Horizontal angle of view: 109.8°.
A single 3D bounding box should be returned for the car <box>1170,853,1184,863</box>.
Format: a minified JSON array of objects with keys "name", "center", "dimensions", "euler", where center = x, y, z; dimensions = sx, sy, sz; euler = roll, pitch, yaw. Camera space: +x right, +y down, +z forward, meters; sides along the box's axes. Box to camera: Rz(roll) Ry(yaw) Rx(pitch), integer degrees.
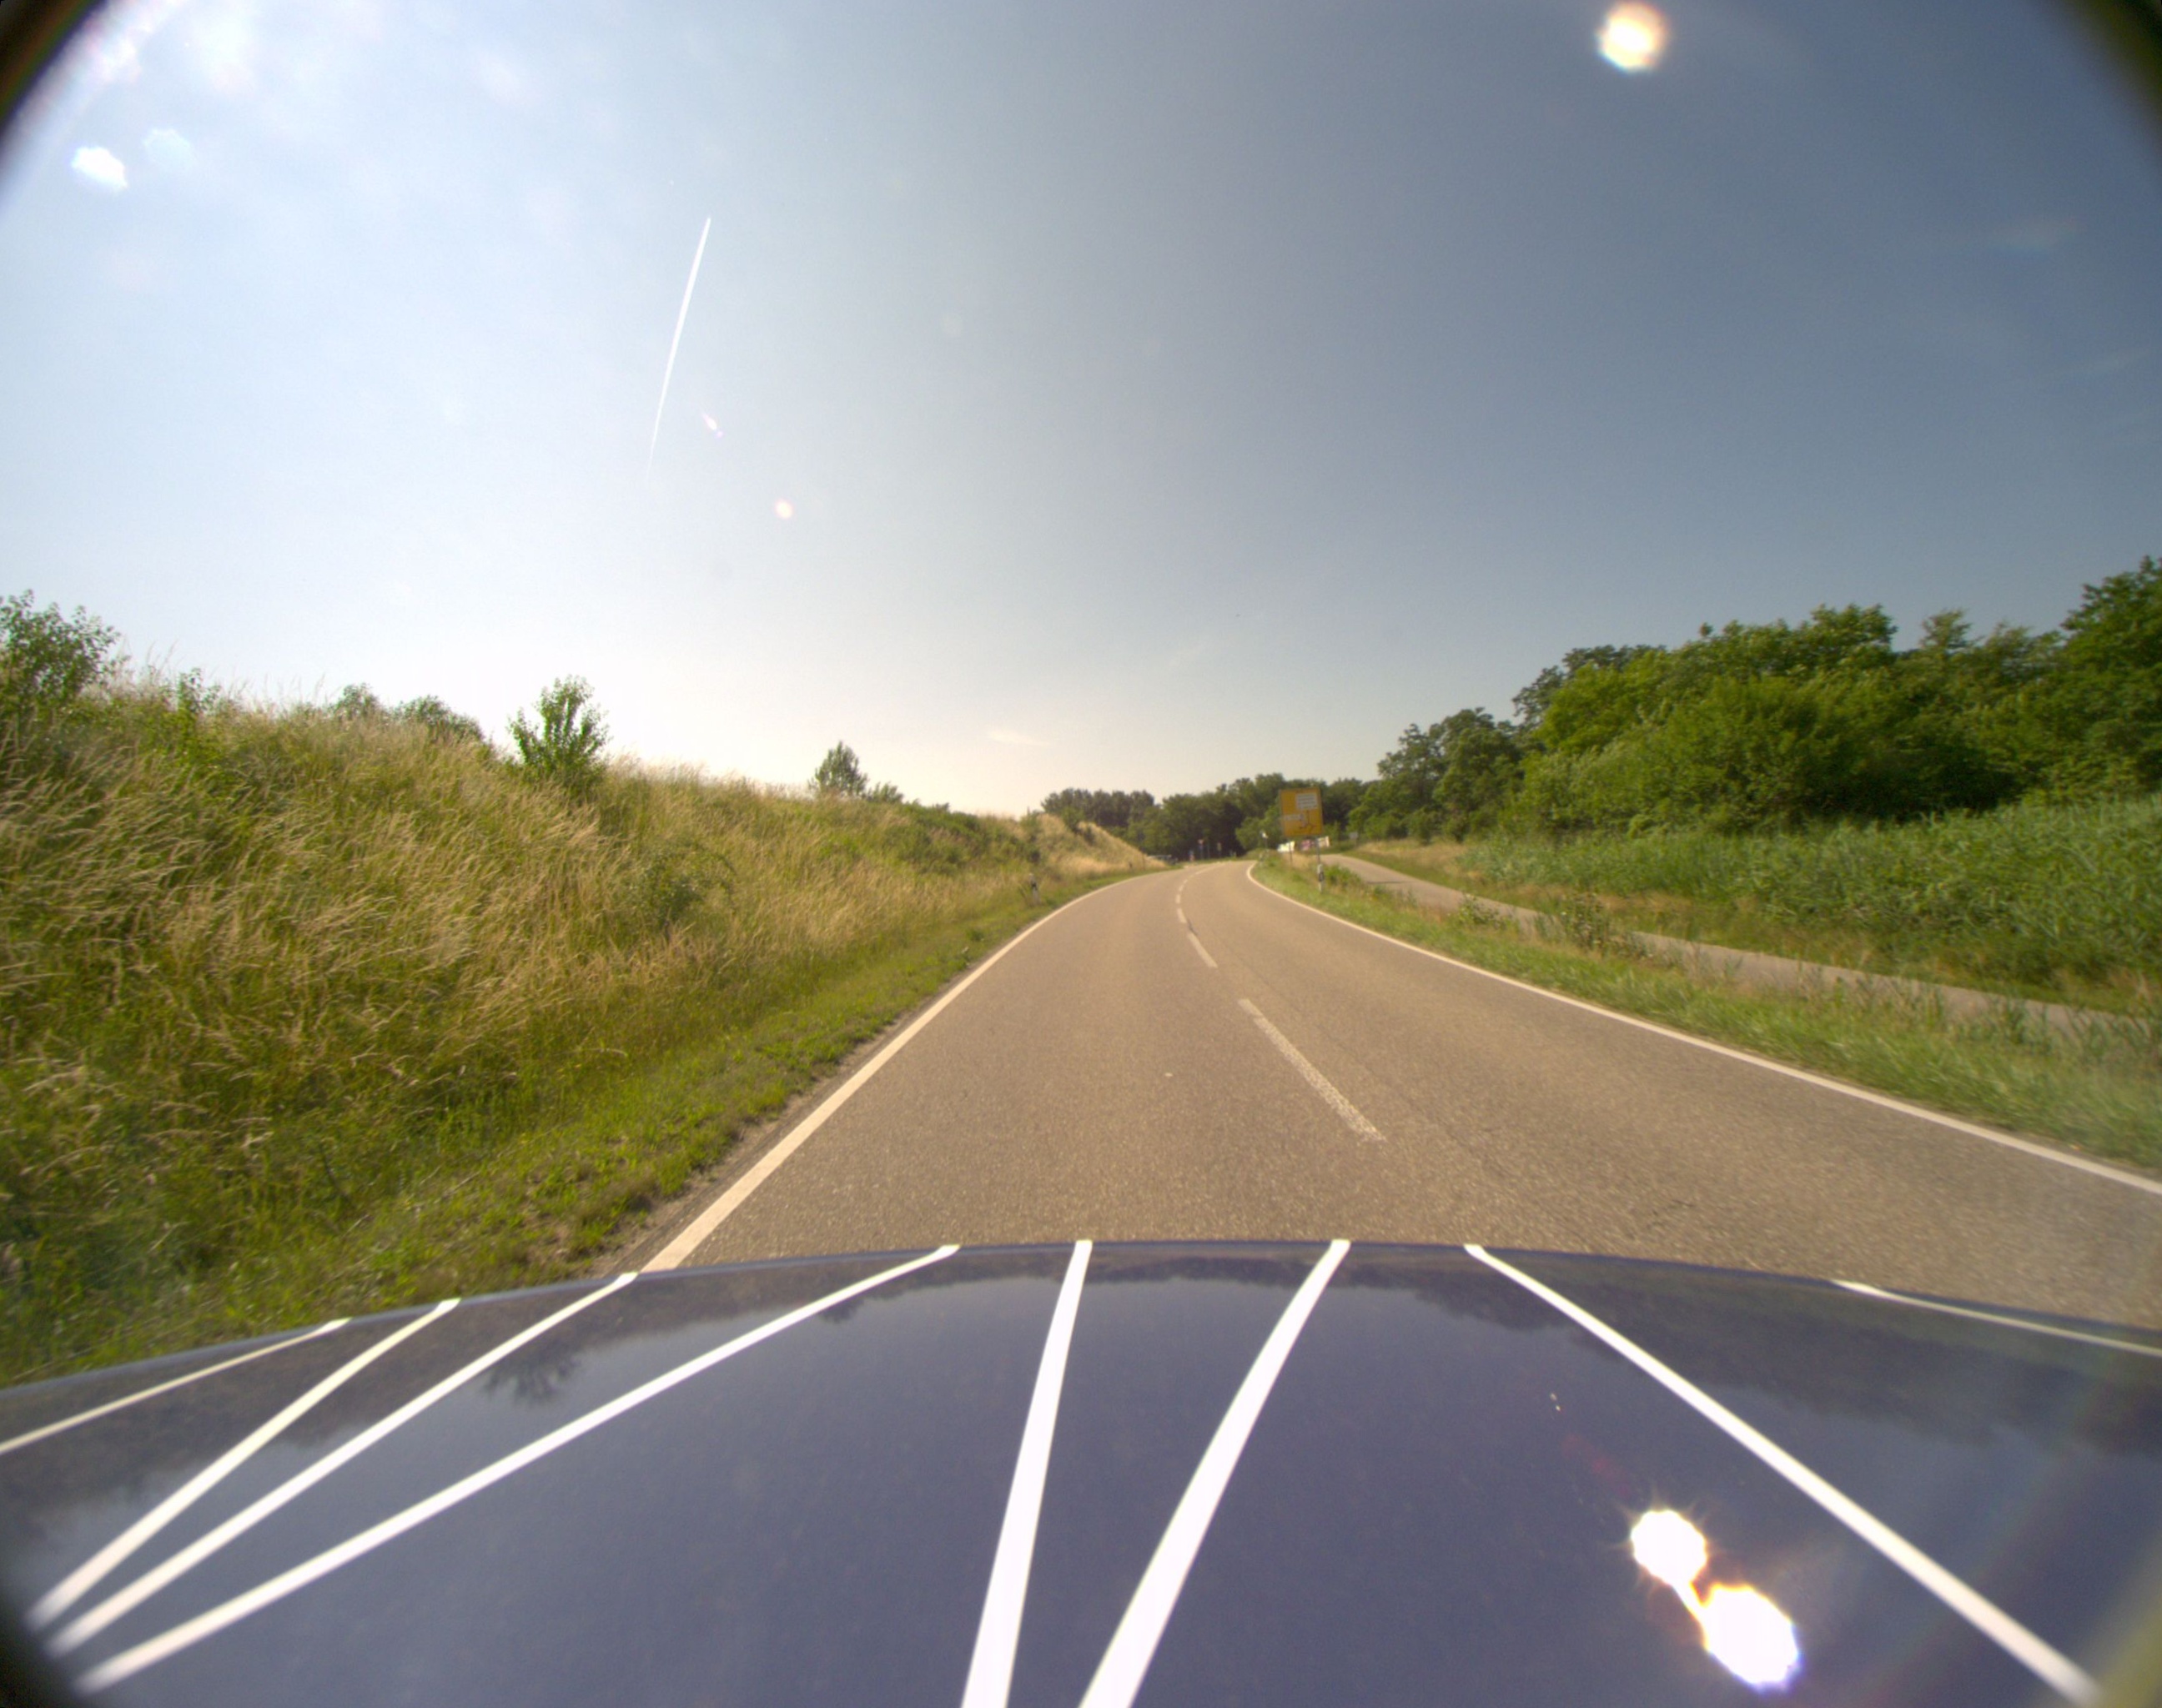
[{"name":"car","center":[17.656,0.730,140.315],"dimensions":[1.707,1.646,4.351],"euler":[-5,0,-3]}]
